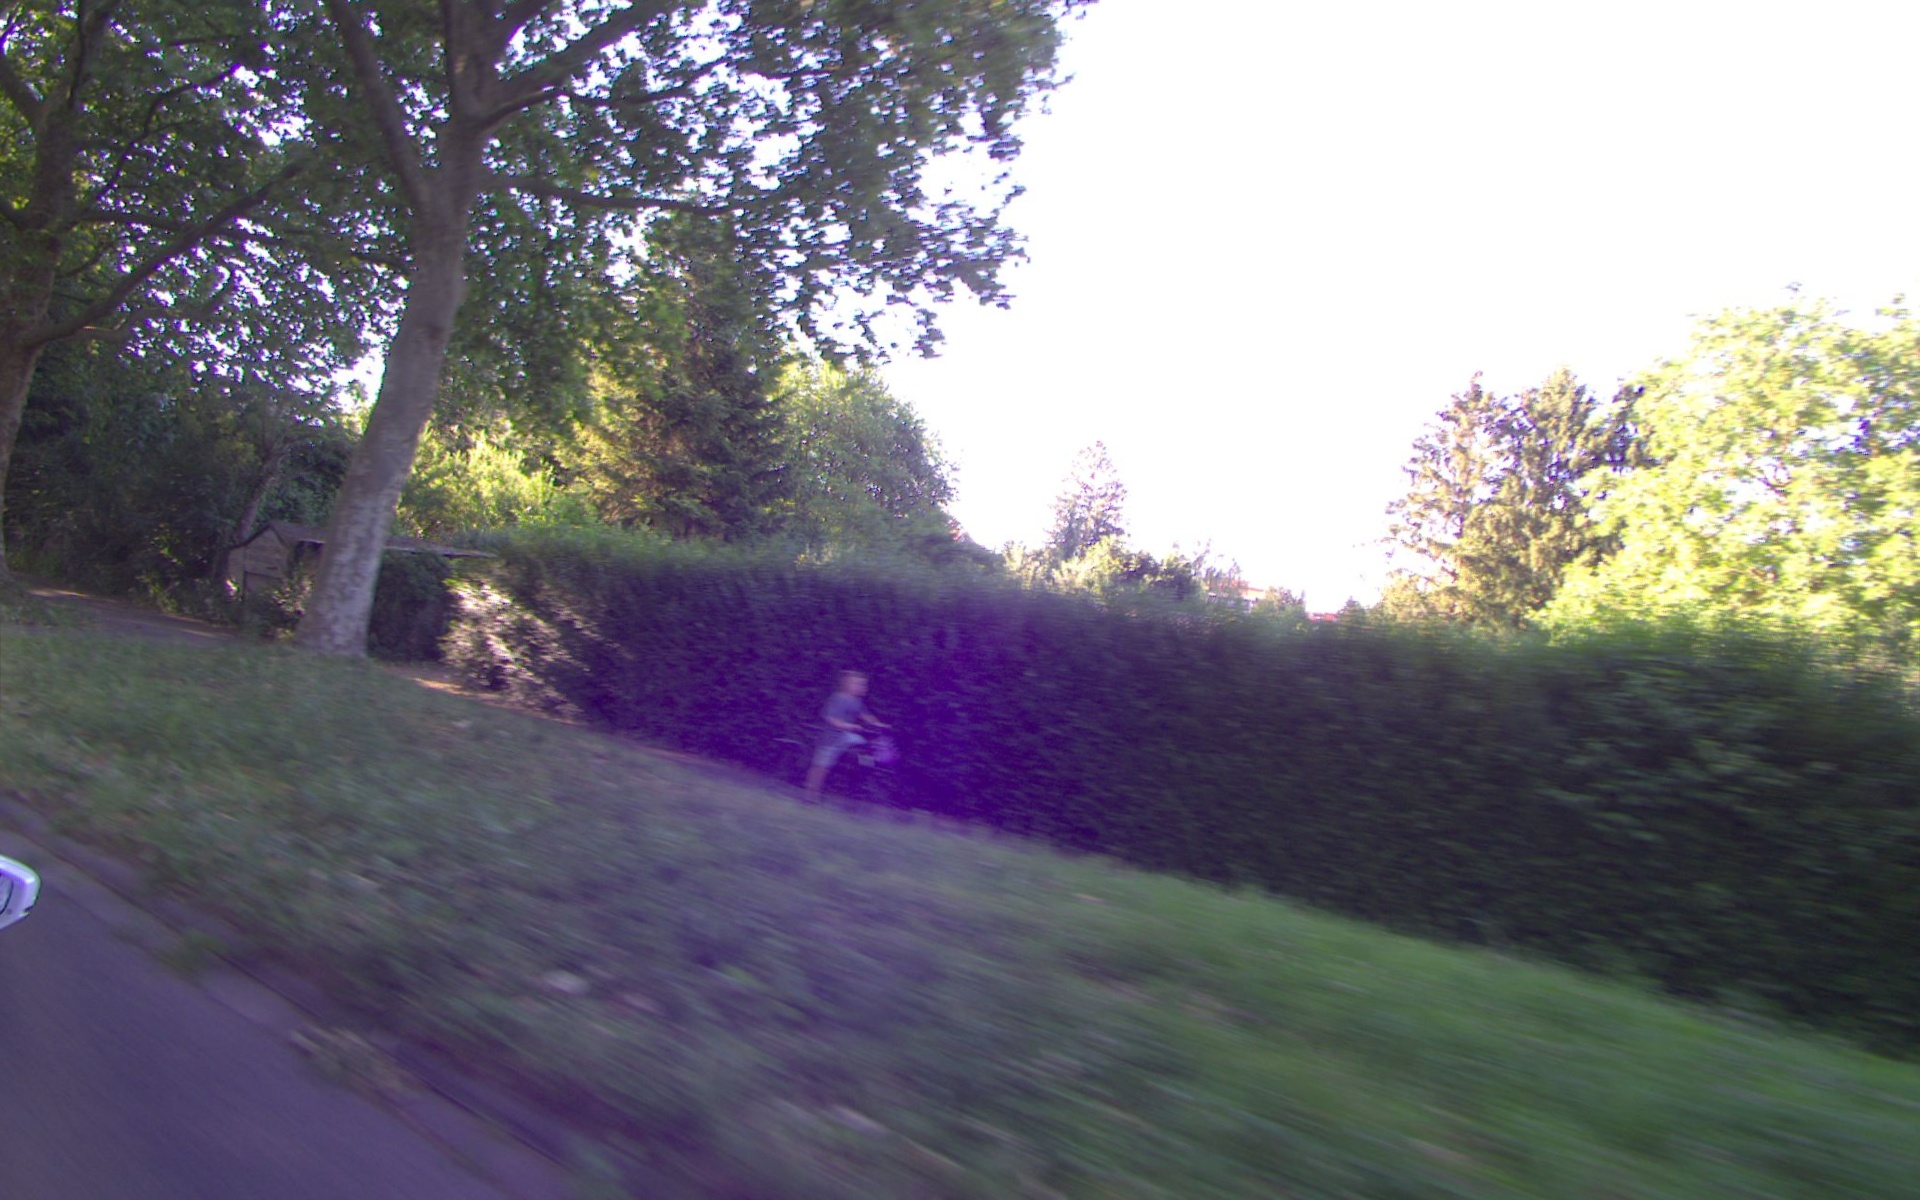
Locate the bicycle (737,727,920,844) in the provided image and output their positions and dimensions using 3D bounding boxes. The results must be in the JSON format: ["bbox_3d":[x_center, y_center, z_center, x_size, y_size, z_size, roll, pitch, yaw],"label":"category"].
[{"bbox_3d":[-1.366,1.843,10.247,1.858,0.826,0.553,6,-2,33],"label":"bicycle"}]

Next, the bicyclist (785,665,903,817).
[{"bbox_3d":[-1.171,1.411,10.229,0.758,1.382,0.735,6,-1,33],"label":"bicyclist"}]
